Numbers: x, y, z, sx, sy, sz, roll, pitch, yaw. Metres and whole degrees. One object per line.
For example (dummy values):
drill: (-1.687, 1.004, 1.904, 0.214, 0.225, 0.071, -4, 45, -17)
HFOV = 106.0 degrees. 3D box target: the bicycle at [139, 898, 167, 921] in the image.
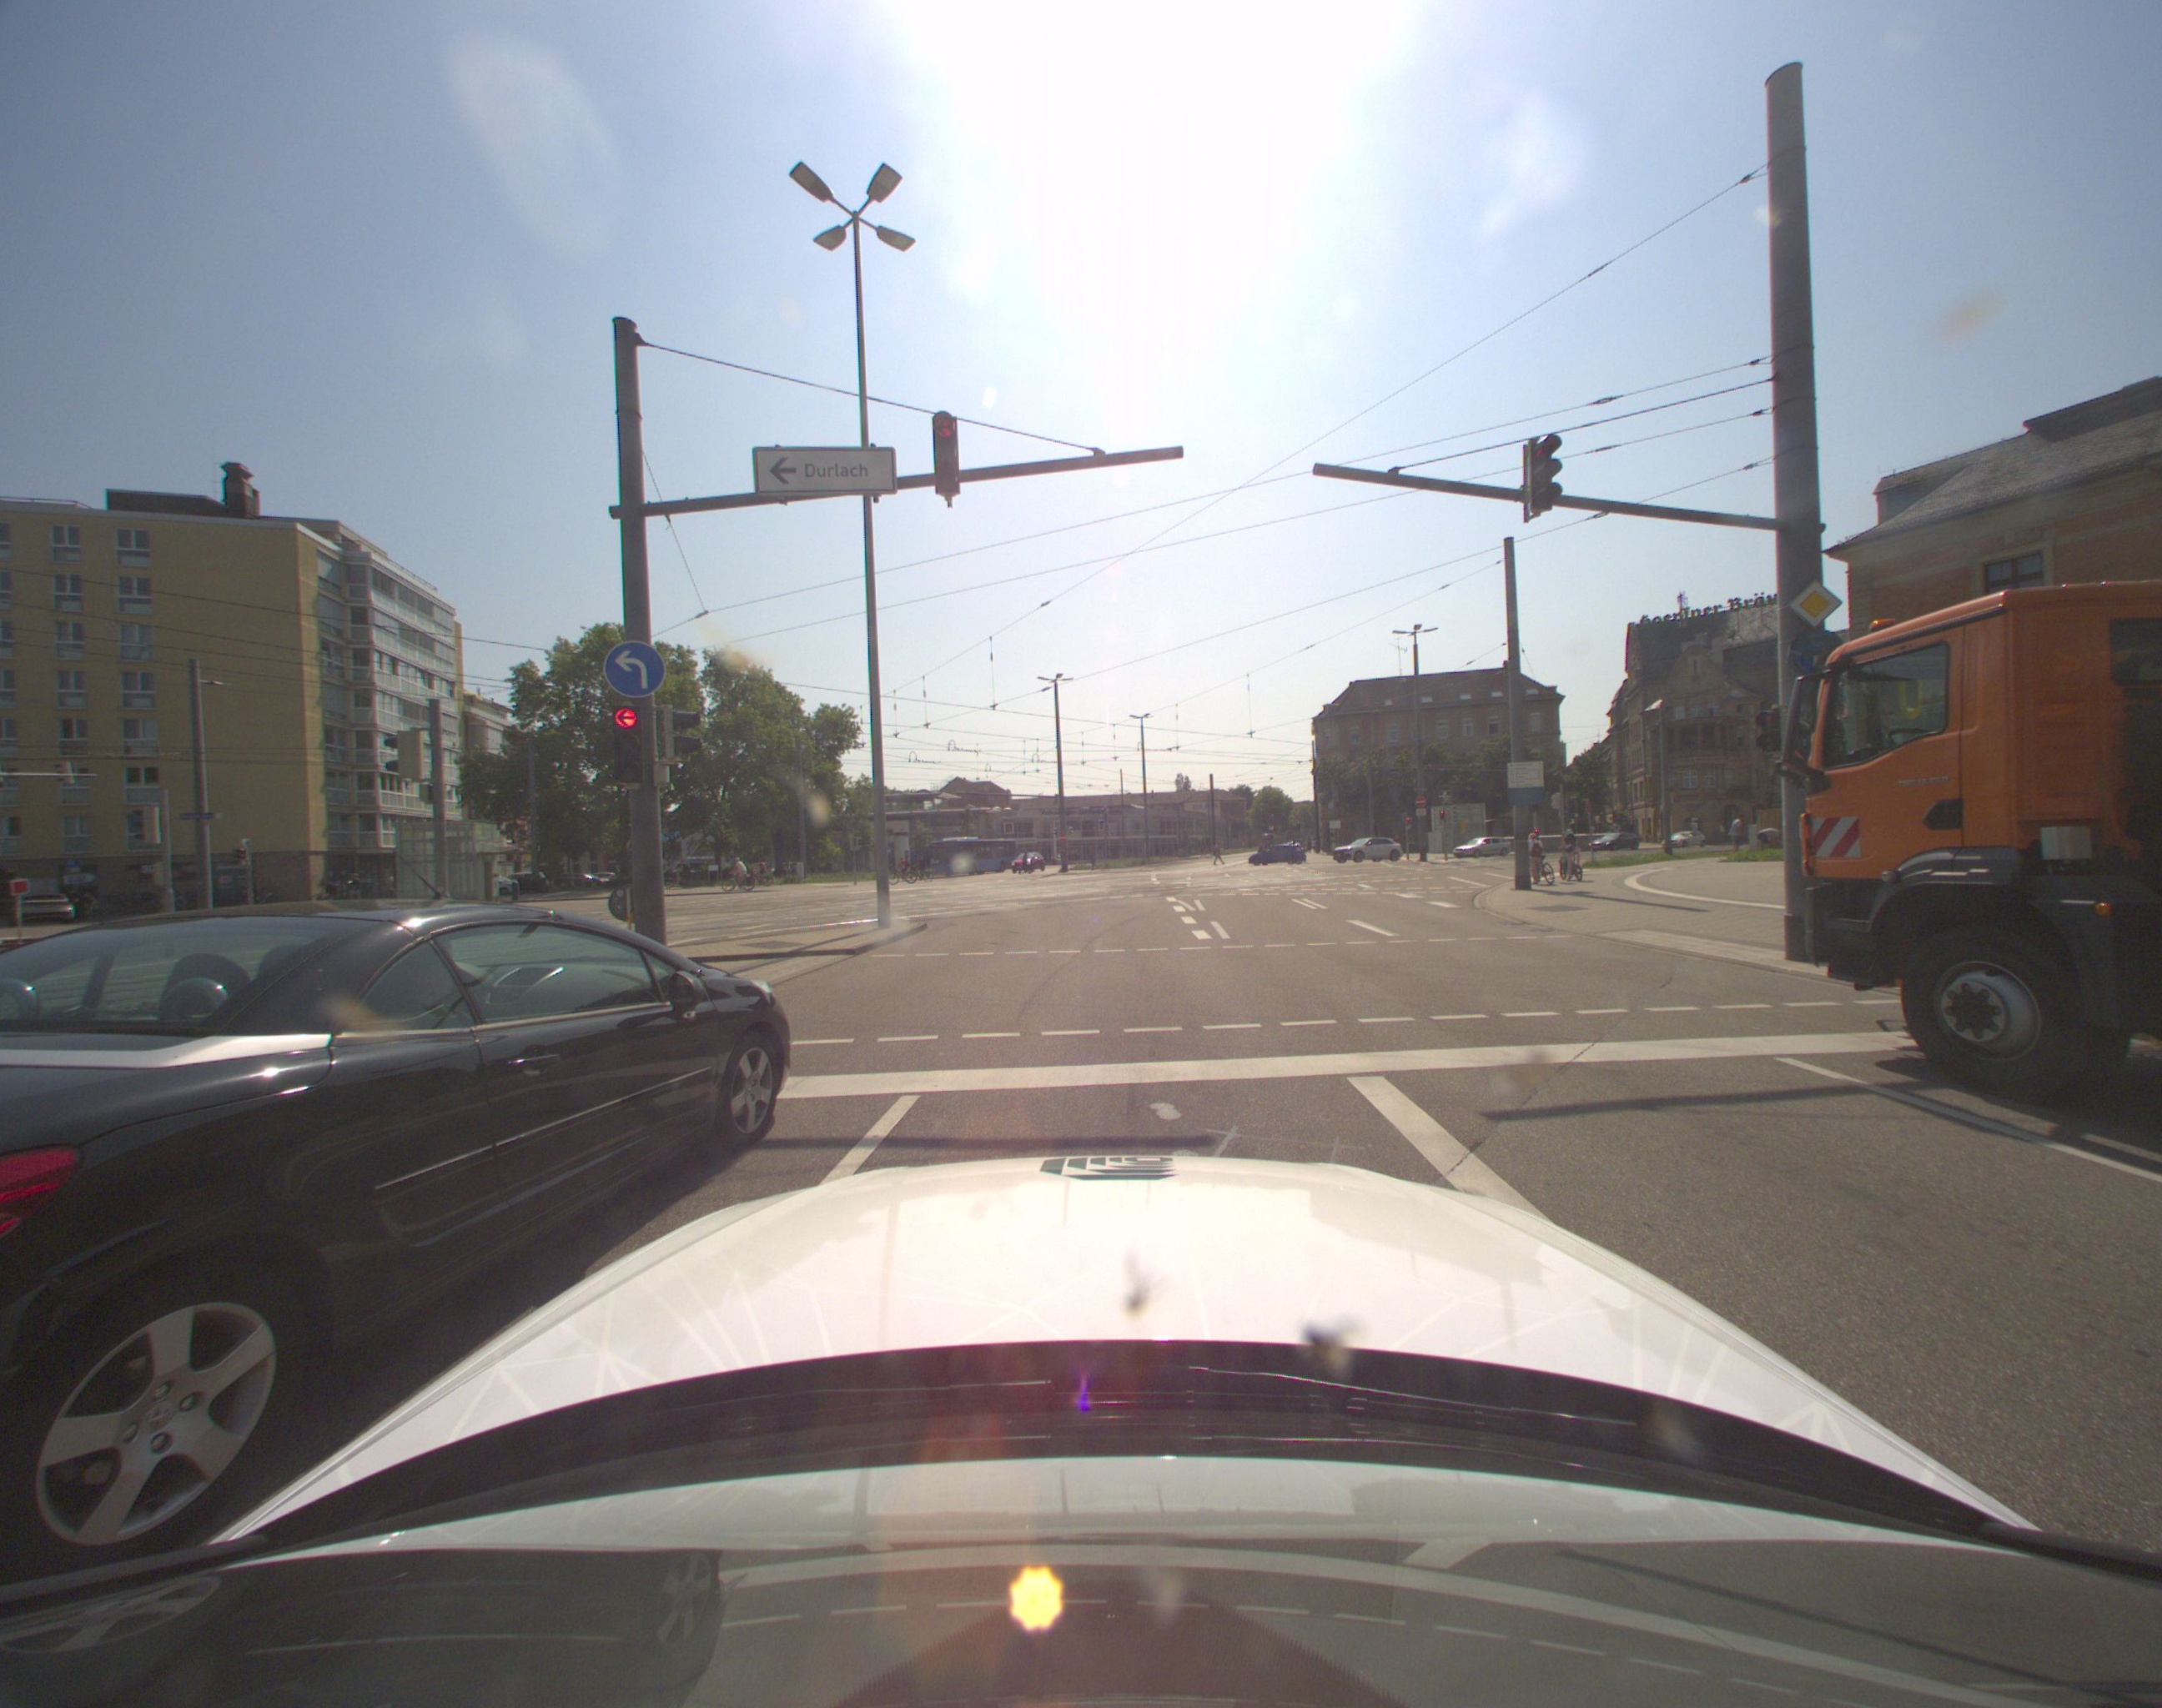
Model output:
bicycle: (-51.745, 3.063, 45.411, 3.220, 1.204, 0.699, -3, 0, 35)

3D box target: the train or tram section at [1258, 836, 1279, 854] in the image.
train or tram section: (37.351, -1.826, 162.071, 2.566, 3.516, 10.954, -2, 0, 20)

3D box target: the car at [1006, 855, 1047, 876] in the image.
car: (-4.363, 0.917, 65.329, 1.735, 1.552, 4.020, -2, 0, 20)

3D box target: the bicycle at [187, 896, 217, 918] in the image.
bicycle: (-49.846, 3.000, 46.176, 3.220, 1.204, 0.699, -3, 0, 35)

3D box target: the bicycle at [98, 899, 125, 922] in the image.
bicycle: (-53.409, 3.095, 44.853, 2.754, 1.204, 0.699, -3, 0, 35)

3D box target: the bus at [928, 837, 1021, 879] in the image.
bus: (-8.646, 0.246, 68.531, 2.541, 3.082, 12.081, -2, 0, 19)

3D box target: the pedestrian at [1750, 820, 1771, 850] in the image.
pedestrian: (35.976, -1.016, 43.105, 0.794, 1.575, 0.729, -2, 0, -44)

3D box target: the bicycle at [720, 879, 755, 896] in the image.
bicycle: (-21.139, 2.061, 50.134, 1.808, 0.942, 0.567, -2, 0, -1)

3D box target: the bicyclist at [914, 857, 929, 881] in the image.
bicyclist: (-10.366, 0.972, 52.920, 0.873, 1.475, 0.543, -2, 0, -16)

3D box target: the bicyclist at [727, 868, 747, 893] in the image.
bicyclist: (-21.167, 1.614, 50.146, 0.907, 1.508, 0.559, -2, 0, 0)

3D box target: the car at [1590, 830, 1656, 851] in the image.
car: (42.927, -1.051, 64.526, 4.767, 1.415, 1.765, -2, 0, -18)

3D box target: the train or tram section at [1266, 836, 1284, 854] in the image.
train or tram section: (40.947, -1.922, 171.855, 2.567, 3.516, 9.707, -2, 0, 20)

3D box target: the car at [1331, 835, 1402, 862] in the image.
car: (19.142, -0.384, 54.689, 4.335, 1.618, 1.743, -2, 0, -19)

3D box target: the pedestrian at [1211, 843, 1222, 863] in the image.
pedestrian: (10.757, -0.073, 64.501, 0.699, 1.603, 0.572, -2, 0, -6)

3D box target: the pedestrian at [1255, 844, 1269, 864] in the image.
pedestrian: (14.452, 0.019, 65.036, 0.849, 1.545, 0.527, -2, 0, -7)

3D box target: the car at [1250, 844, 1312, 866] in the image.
car: (14.172, 0.075, 57.803, 3.949, 1.394, 1.606, -3, 0, 29)

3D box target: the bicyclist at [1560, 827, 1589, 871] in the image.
bicyclist: (15.843, -0.162, 26.166, 0.526, 1.393, 0.897, -2, 0, 14)

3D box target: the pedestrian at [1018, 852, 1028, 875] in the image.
pedestrian: (-4.199, 0.688, 59.102, 0.554, 1.684, 0.451, -2, 0, -17)

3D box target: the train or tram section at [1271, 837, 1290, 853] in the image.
train or tram section: (44.837, -2.060, 182.468, 2.566, 3.516, 13.039, -2, 0, 20)

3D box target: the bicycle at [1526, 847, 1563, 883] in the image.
bicycle: (14.411, 0.330, 25.369, 0.532, 1.055, 1.660, -2, 0, 14)

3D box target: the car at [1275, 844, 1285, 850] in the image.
car: (53.302, -2.007, 218.113, 1.782, 1.508, 4.021, -2, 0, 22)

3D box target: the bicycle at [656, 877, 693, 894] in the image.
bicycle: (-26.169, 2.028, 52.428, 2.033, 0.942, 0.466, -2, 0, -11)

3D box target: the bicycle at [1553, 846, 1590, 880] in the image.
bicycle: (15.957, 0.267, 26.527, 0.532, 1.055, 1.660, -2, 0, 14)

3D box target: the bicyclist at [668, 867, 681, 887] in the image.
bicyclist: (-26.140, 1.485, 52.380, 0.544, 1.293, 0.557, -2, 0, -10)

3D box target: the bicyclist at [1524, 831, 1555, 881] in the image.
bicyclist: (14.370, 0.049, 25.522, 0.623, 1.517, 0.714, -2, 0, 14)

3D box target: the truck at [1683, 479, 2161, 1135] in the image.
truck: (6.405, -0.237, 3.755, 2.481, 3.134, 6.868, -1, 0, 3)

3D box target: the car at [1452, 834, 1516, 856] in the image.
car: (28.941, -0.631, 58.459, 4.192, 1.415, 1.763, -2, 0, -22)

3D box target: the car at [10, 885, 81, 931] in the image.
car: (-48.543, 2.490, 38.243, 3.949, 1.925, 1.815, -3, 0, 41)

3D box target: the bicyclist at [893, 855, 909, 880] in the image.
bicyclist: (-10.934, 0.815, 49.407, 0.871, 1.483, 0.495, -2, 0, -11)

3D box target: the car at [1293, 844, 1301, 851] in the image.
car: (58.656, -1.868, 220.759, 1.804, 1.809, 4.019, -1, -1, 19)

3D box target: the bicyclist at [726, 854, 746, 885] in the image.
bicyclist: (-20.344, 0.918, 48.068, 0.924, 1.808, 0.495, -2, 0, -11)

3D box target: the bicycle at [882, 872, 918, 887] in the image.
bicycle: (-10.981, 1.515, 49.413, 2.049, 0.802, 0.477, -2, 0, -11)

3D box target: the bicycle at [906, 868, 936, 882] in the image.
bicycle: (-10.380, 1.370, 52.914, 1.861, 0.802, 0.604, -2, 0, -17)

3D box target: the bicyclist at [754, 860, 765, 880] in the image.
bicyclist: (-21.430, 1.079, 54.300, 0.544, 1.293, 0.557, -2, 0, -10)

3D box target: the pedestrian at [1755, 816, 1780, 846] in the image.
pedestrian: (28.845, -0.952, 34.228, 0.658, 1.214, 0.531, -2, 0, 30)

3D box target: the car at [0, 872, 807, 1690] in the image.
car: (-2.688, 0.819, 3.013, 1.757, 1.388, 3.787, -1, 0, 5)

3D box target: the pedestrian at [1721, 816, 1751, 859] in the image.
pedestrian: (26.751, -0.656, 33.282, 0.549, 1.724, 0.812, -2, 0, -40)

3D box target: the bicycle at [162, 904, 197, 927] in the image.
bicycle: (-50.515, 3.418, 45.638, 3.220, 1.204, 0.916, -3, 0, 35)

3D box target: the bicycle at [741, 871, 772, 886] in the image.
bicycle: (-21.641, 1.646, 54.341, 1.815, 0.942, 0.414, -2, 0, -11)

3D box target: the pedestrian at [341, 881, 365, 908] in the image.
pedestrian: (-43.658, 2.439, 48.842, 0.861, 1.543, 0.736, -2, 0, -30)

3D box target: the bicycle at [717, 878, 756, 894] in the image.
bicycle: (-20.329, 1.881, 48.060, 2.049, 0.802, 0.477, -2, 0, -11)

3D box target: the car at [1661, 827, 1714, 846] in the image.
car: (51.633, -1.461, 69.304, 4.208, 1.415, 1.762, -2, 0, -24)
